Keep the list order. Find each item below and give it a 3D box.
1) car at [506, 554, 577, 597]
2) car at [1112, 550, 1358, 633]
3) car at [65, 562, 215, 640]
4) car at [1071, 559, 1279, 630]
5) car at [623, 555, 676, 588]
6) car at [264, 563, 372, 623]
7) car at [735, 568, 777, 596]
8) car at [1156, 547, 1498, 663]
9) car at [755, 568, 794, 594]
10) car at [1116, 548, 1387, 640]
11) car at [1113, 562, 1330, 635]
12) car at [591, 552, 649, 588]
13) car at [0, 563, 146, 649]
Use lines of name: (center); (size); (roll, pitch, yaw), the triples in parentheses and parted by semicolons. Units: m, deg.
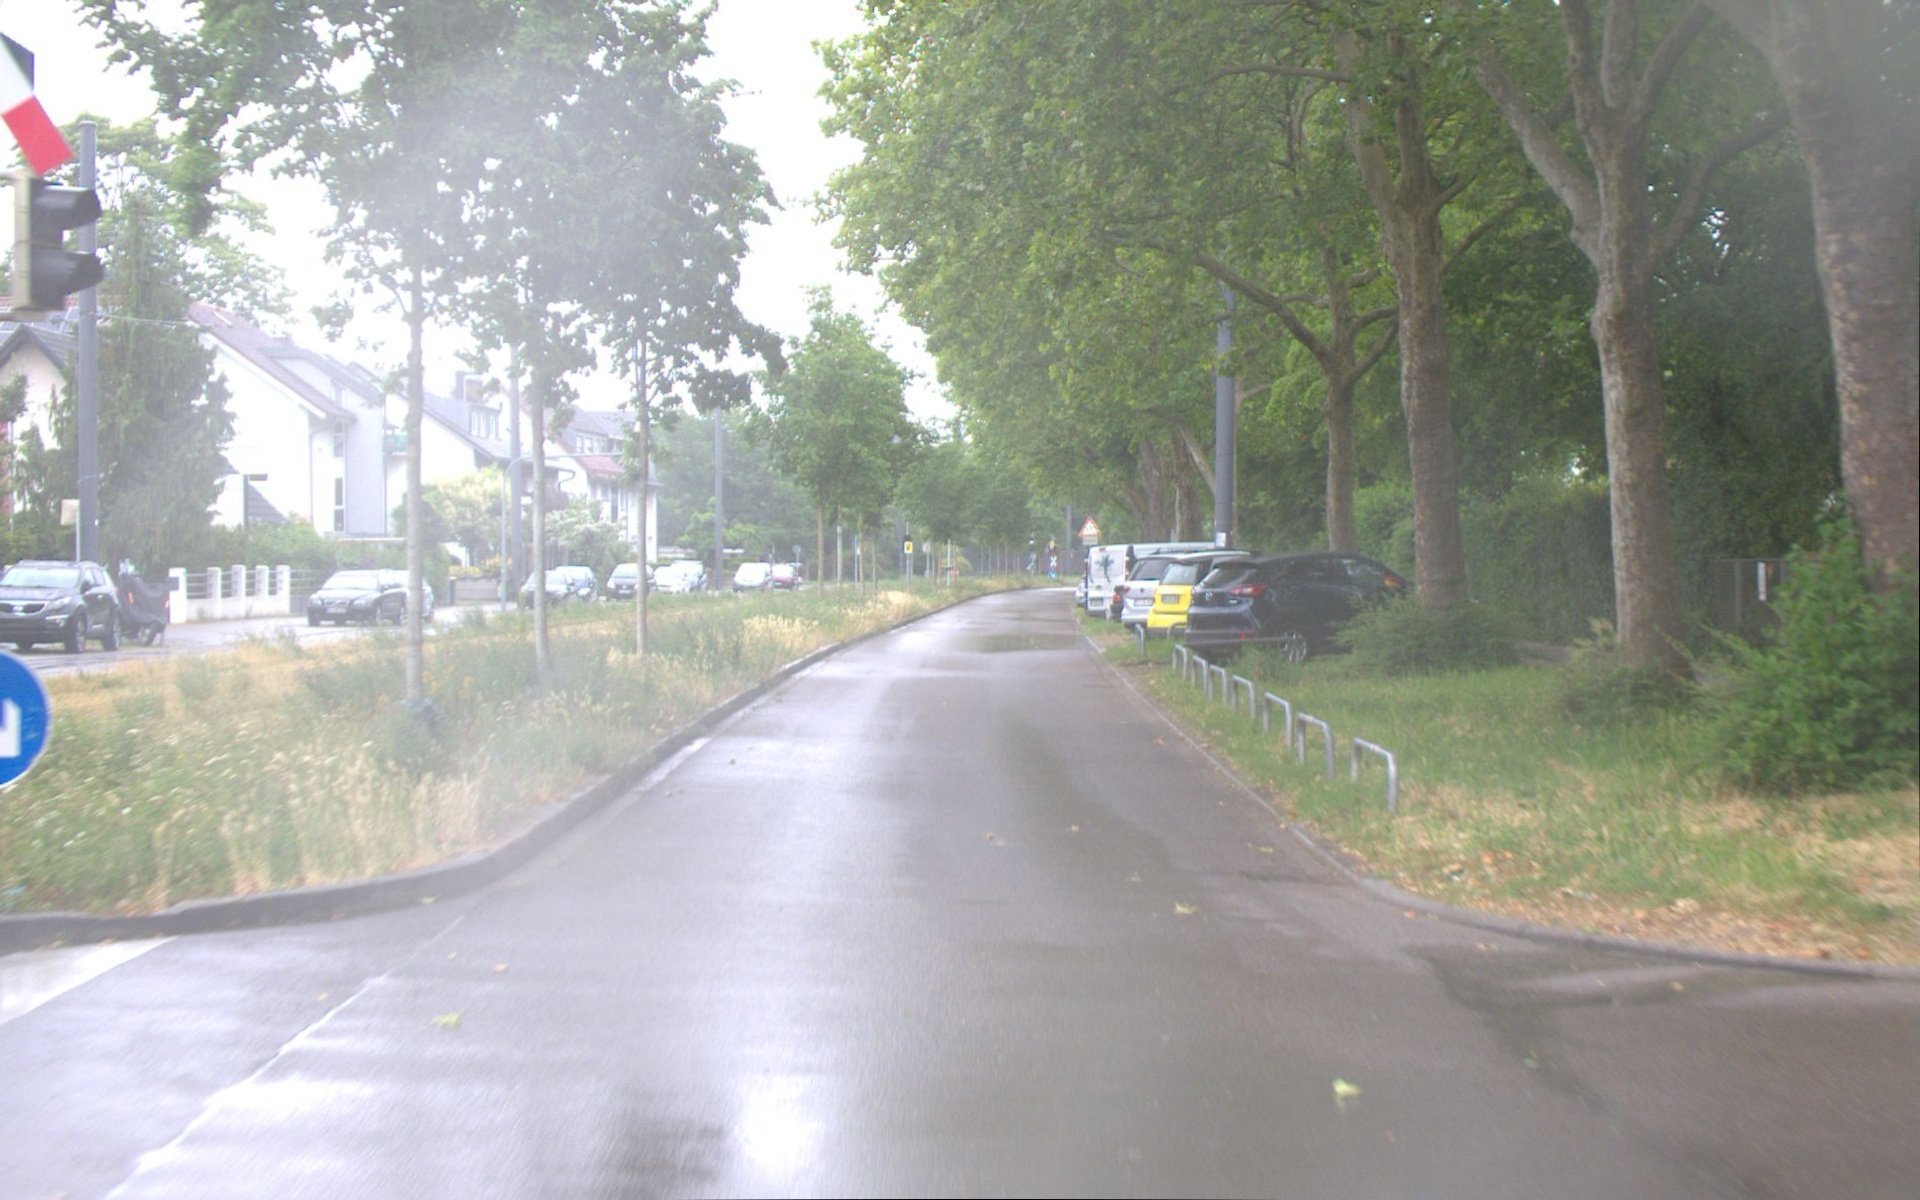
car: (-14.946, -0.870, 122.961); (1.928, 1.481, 4.000); (1, 0, 2)
car: (4.970, -0.148, 62.310); (3.986, 1.448, 2.001); (1, 0, -16)
car: (-16.355, 0.013, 68.723); (1.928, 1.481, 4.000); (1, 0, 2)
car: (4.580, -0.121, 73.536); (3.986, 1.448, 2.001); (1, 0, -16)
car: (-14.180, -1.296, 157.270); (1.928, 1.481, 4.000); (1, 0, 2)
car: (-16.532, -0.182, 88.695); (1.928, 1.481, 4.000); (1, 0, 2)
car: (-11.124, -0.983, 187.488); (1.928, 1.481, 4.000); (1, 0, 2)
car: (4.791, 0.074, 45.050); (3.986, 1.448, 2.001); (1, 0, -16)
car: (-10.853, -1.106, 201.297); (1.928, 1.481, 4.000); (1, 0, 2)
car: (4.787, -0.098, 56.588); (3.986, 1.448, 2.001); (1, 0, -16)
car: (5.379, -0.025, 70.903); (3.986, 1.448, 2.001); (1, 0, -16)
car: (-14.321, -1.252, 145.171); (1.928, 1.481, 4.000); (1, 0, 2)
car: (-16.171, 0.094, 62.003); (1.928, 1.481, 4.000); (1, 0, 2)
